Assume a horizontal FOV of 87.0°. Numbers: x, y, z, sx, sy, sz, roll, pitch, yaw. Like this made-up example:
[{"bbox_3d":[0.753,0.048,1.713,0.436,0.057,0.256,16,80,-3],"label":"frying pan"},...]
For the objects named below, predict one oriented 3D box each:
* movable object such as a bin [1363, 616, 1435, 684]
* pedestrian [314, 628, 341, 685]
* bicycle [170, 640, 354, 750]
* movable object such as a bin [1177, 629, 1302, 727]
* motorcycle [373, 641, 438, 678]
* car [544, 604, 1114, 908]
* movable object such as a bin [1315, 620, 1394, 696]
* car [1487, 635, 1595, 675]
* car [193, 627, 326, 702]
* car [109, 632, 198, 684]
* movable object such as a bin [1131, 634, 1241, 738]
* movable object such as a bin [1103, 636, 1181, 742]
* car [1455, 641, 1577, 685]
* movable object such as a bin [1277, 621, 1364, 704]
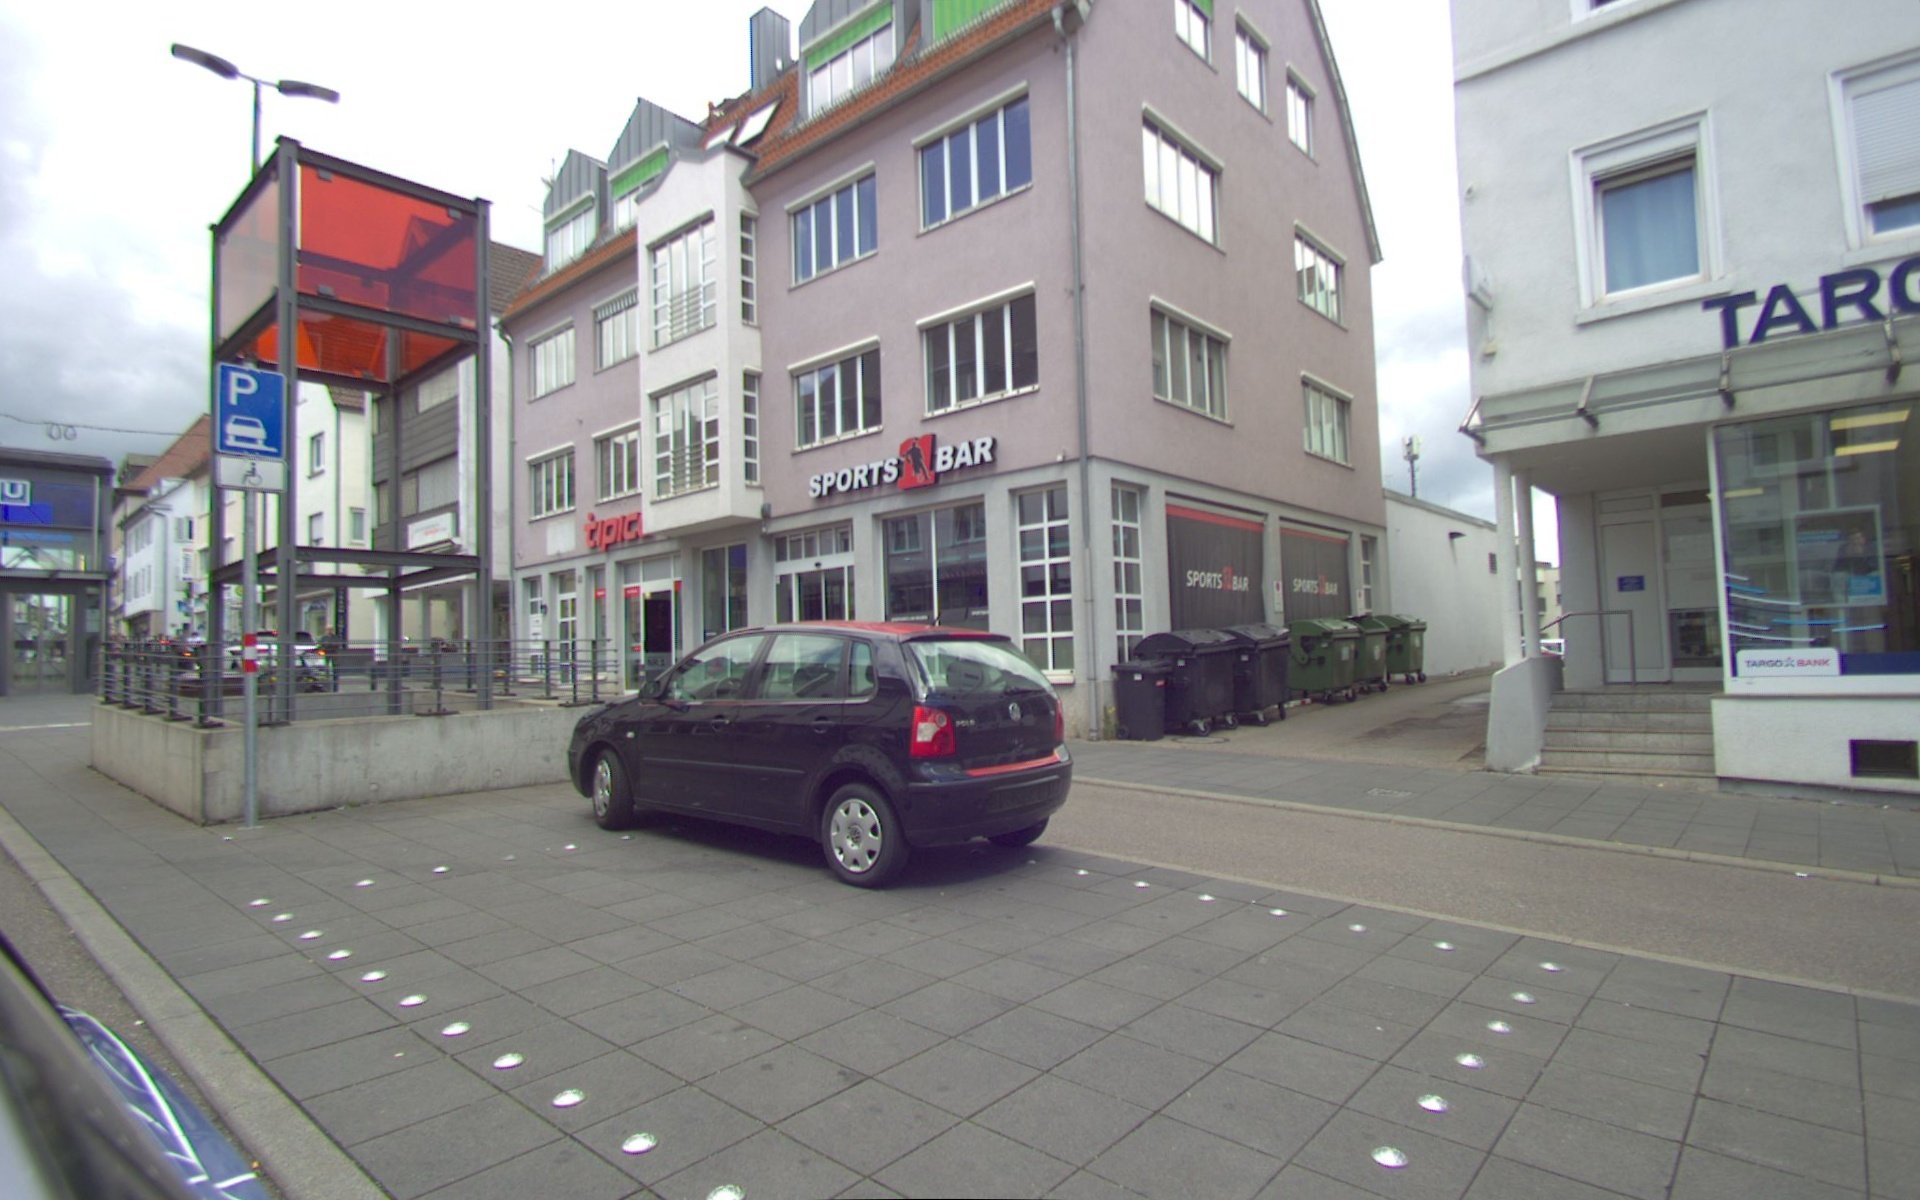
[{"bbox_3d":[9.248,1.029,21.313,1.043,1.387,1.270,-2,-2,41],"label":"movable object such as a bin"},{"bbox_3d":[-19.555,1.744,31.303,0.513,1.729,0.584,-1,-1,41],"label":"pedestrian"},{"bbox_3d":[-8.426,1.111,12.295,0.459,1.232,1.760,-1,-3,40],"label":"bicycle"},{"bbox_3d":[4.236,1.137,15.343,1.406,1.387,1.270,-2,-2,41],"label":"movable object such as a bin"},{"bbox_3d":[-18.929,2.030,34.580,0.634,1.149,1.830,-1,0,40],"label":"motorcycle"},{"bbox_3d":[-1.038,0.830,6.792,3.851,1.486,1.553,-1,-4,39],"label":"car"},{"bbox_3d":[7.548,1.075,19.344,1.043,1.387,1.270,-2,-2,41],"label":"movable object such as a bin"},{"bbox_3d":[26.425,2.471,46.077,3.934,1.621,1.941,-1,0,41],"label":"car"},{"bbox_3d":[-16.898,1.478,24.345,4.120,1.583,1.662,-1,-1,41],"label":"car"},{"bbox_3d":[-27.471,1.922,34.447,4.120,1.583,1.662,-1,-1,41],"label":"car"},{"bbox_3d":[3.244,1.187,14.493,1.067,1.387,1.270,-2,-2,41],"label":"movable object such as a bin"},{"bbox_3d":[2.495,1.192,13.855,0.807,1.387,0.682,-2,-2,41],"label":"movable object such as a bin"},{"bbox_3d":[23.268,2.581,42.426,4.212,1.621,1.850,-1,0,41],"label":"car"},{"bbox_3d":[6.320,1.060,17.730,1.043,1.387,1.270,-2,-2,41],"label":"movable object such as a bin"}]
